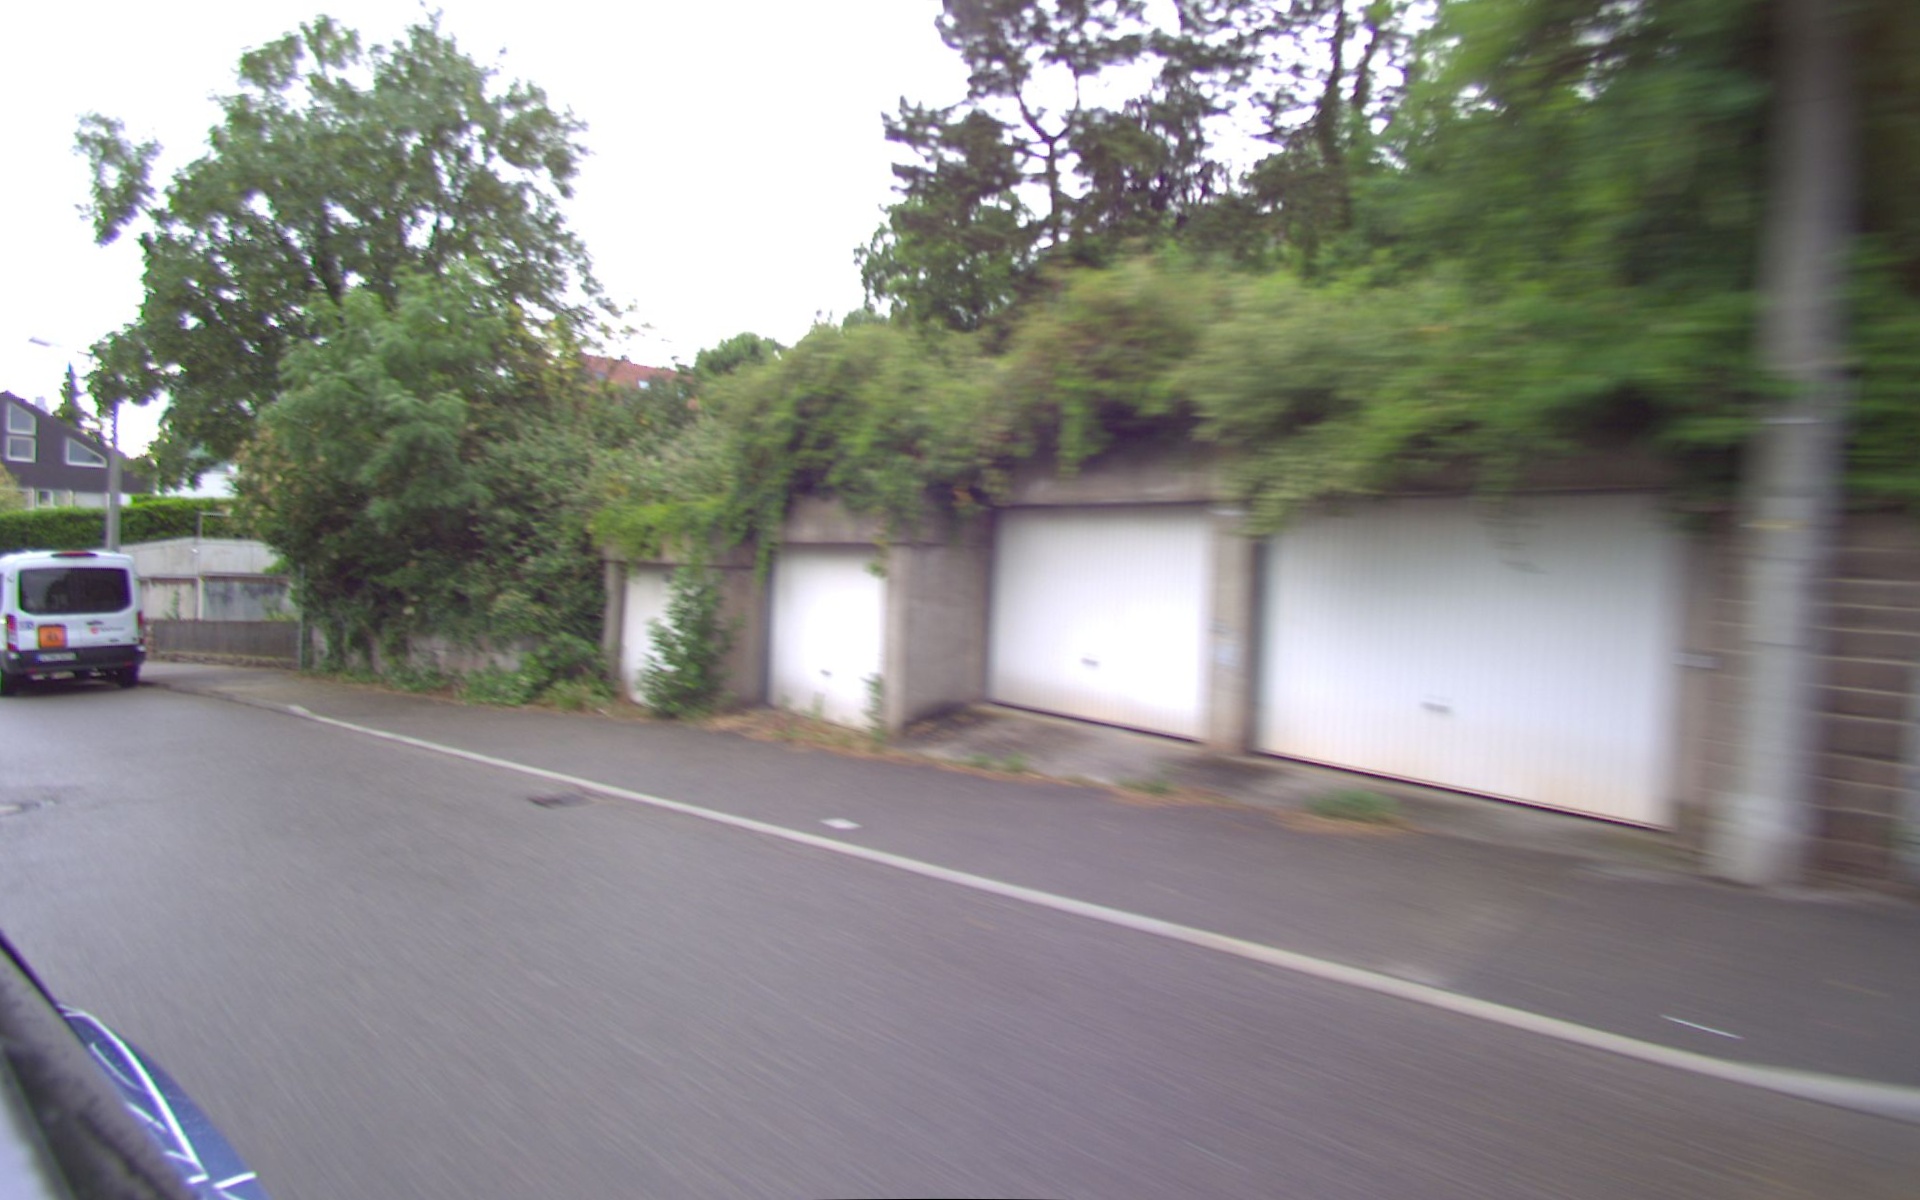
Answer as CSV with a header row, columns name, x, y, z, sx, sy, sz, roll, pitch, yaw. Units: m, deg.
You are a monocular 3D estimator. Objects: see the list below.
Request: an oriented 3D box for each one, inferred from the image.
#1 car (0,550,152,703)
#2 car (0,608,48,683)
name,x,y,z,sx,sy,sz,roll,pitch,yaw
car,-17.930,0.482,19.764,6.090,2.569,2.074,-1,0,39
car,-23.854,1.074,24.233,4.532,1.704,1.881,-1,0,33
